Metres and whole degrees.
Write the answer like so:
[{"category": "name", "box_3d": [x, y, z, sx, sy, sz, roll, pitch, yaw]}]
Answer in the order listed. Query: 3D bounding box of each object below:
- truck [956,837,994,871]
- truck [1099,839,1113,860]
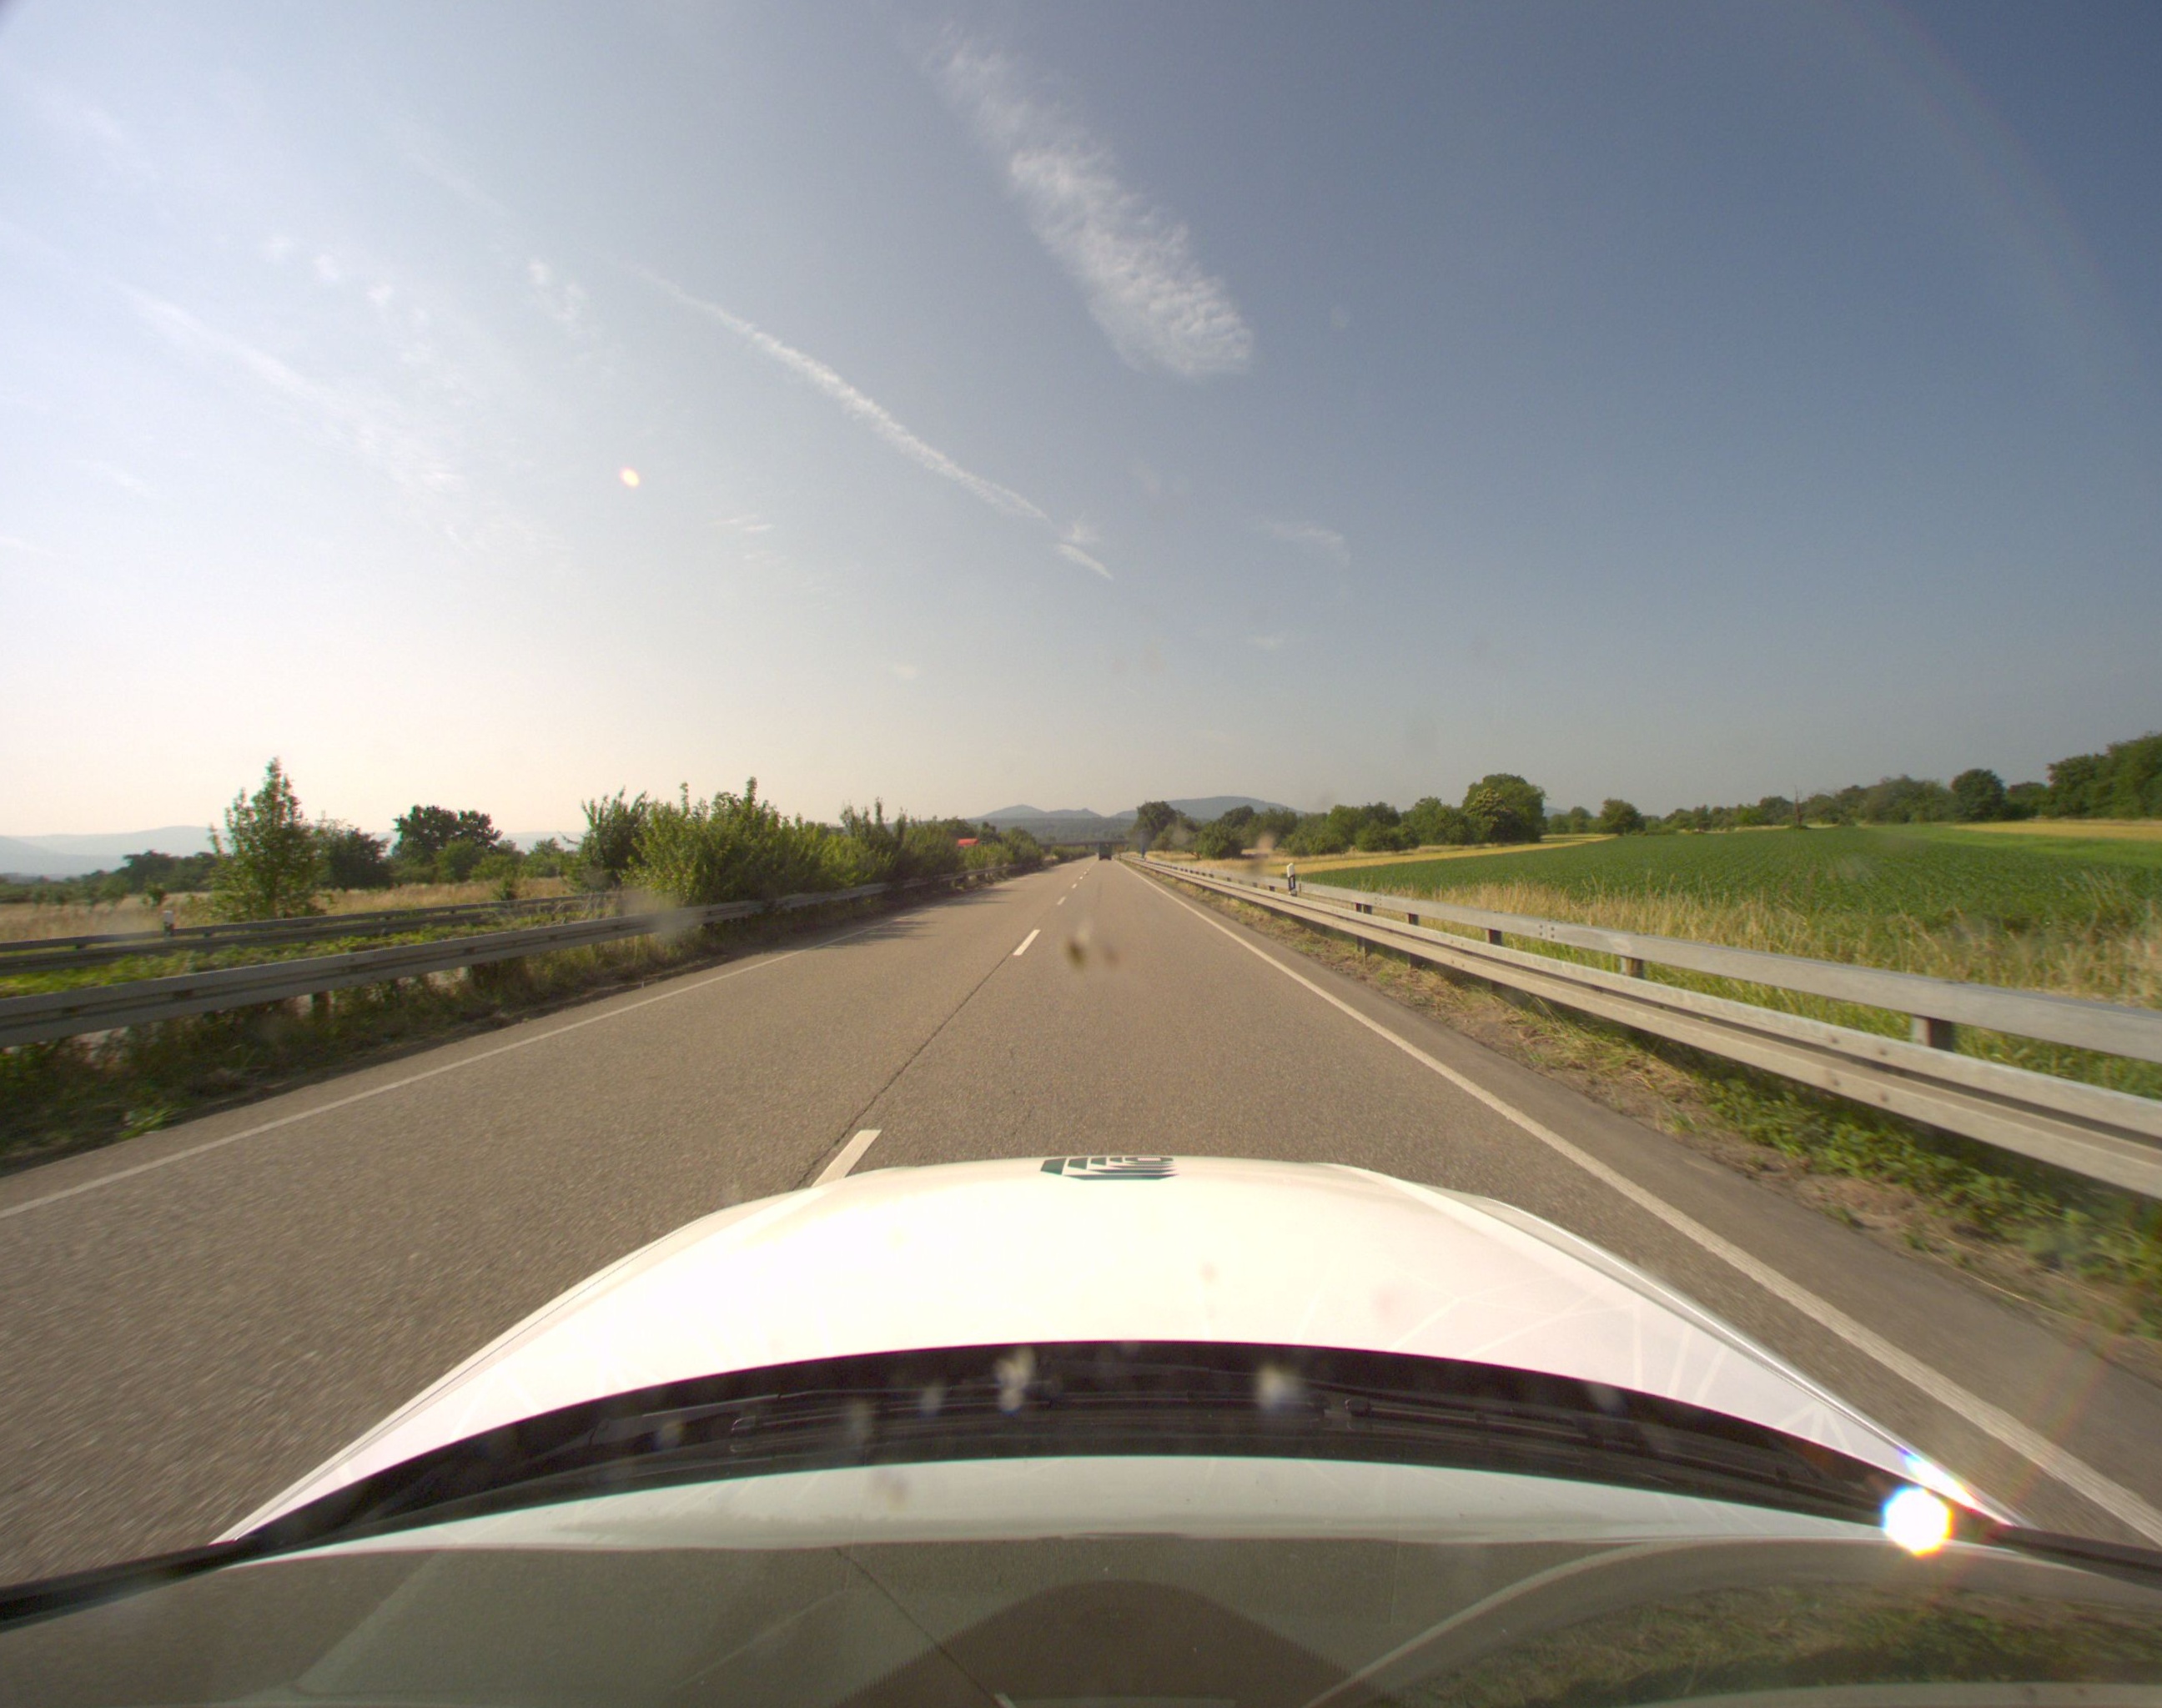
[{"category": "truck", "box_3d": [-11.963, 0.038, 92.663, 2.593, 3.588, 10.389, -2, 0, 2]}, {"category": "truck", "box_3d": [4.985, -0.990, 163.001, 2.712, 3.965, 10.421, 0, 1, 2]}]
